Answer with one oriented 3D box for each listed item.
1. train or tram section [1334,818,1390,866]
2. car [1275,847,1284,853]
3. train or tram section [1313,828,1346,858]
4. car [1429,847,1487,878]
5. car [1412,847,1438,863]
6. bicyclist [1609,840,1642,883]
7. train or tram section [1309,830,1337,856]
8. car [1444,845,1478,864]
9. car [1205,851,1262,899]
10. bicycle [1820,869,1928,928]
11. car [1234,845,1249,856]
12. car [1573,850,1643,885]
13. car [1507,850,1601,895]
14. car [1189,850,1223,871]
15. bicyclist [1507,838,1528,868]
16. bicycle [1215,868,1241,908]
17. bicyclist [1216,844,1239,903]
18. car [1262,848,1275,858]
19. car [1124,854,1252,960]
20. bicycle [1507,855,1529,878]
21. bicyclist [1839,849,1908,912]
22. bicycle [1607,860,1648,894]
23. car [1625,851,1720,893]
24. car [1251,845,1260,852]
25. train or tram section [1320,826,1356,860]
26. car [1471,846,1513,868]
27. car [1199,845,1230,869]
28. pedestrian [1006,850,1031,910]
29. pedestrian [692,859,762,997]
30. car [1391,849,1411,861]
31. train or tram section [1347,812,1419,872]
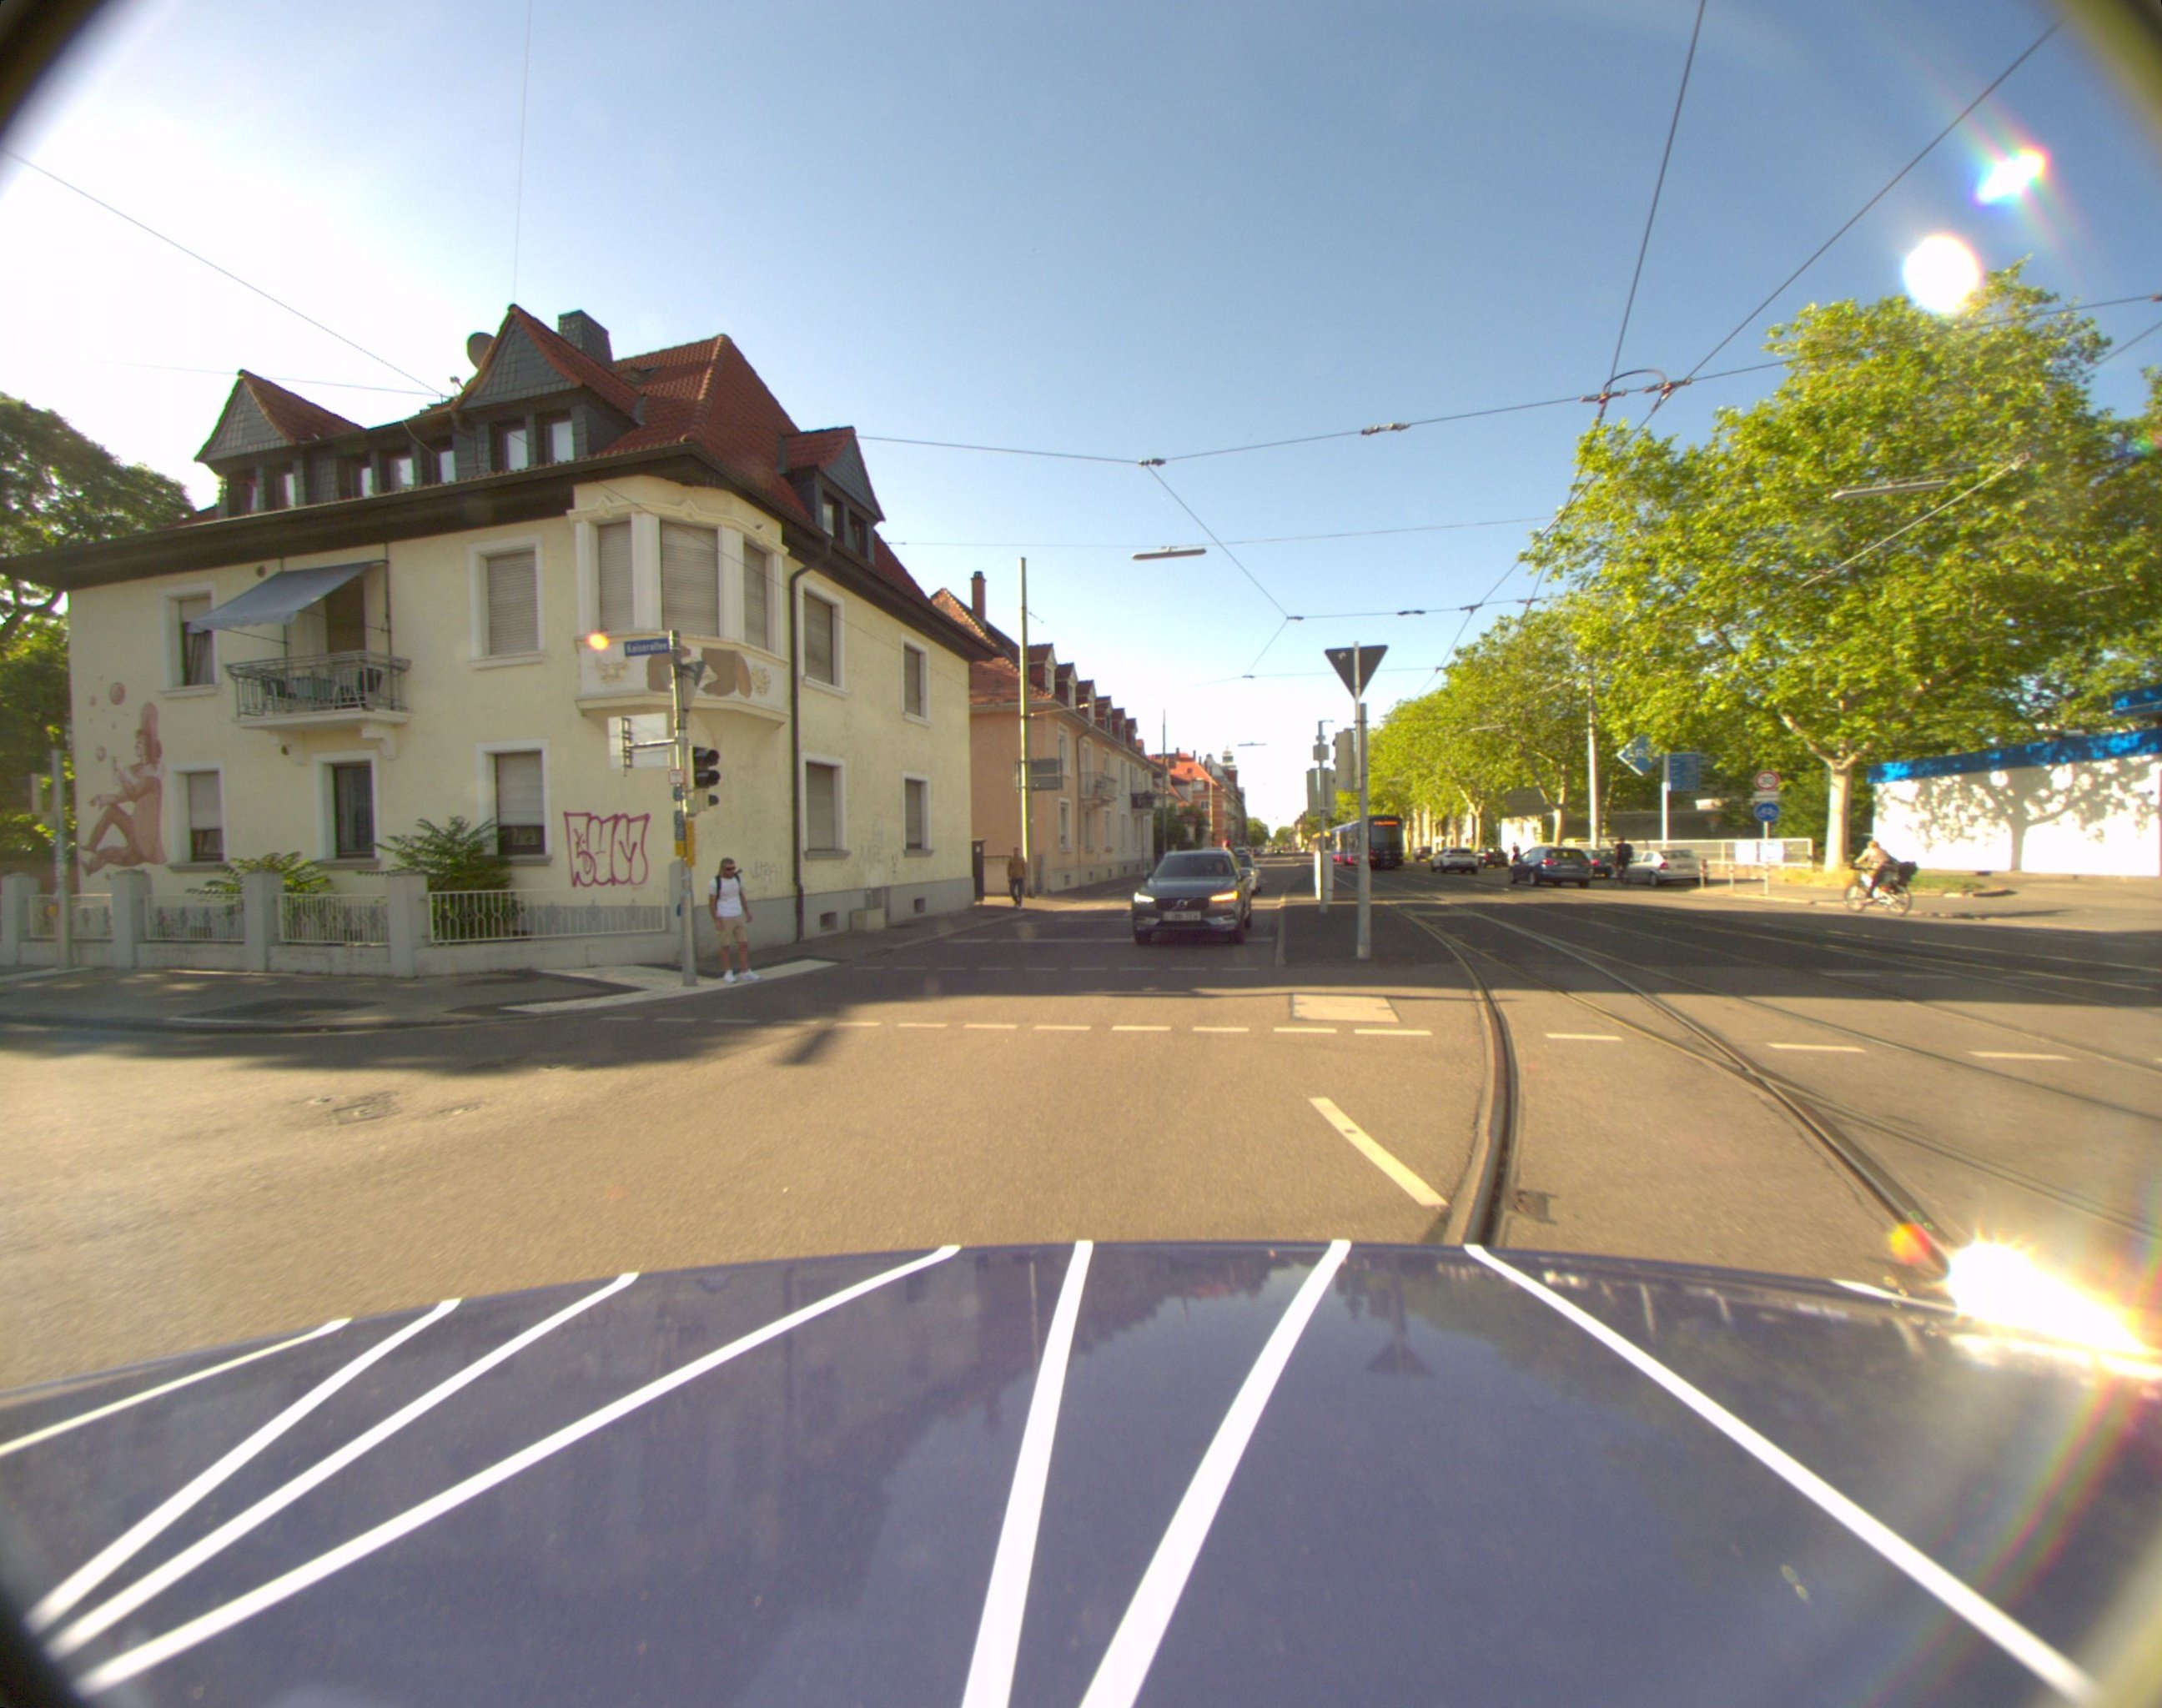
[{"bbox_3d":[23.335,-0.952,63.800,3.059,3.592,12.514,-1,1,14],"label":"train or tram section"},{"bbox_3d":[46.588,-1.001,178.531,1.880,1.477,4.004,-1,1,13],"label":"car"},{"bbox_3d":[32.345,-1.428,99.160,3.059,3.592,11.961,-1,1,13],"label":"train or tram section"},{"bbox_3d":[21.091,0.432,42.725,1.996,1.488,4.351,3,2,14],"label":"car"},{"bbox_3d":[35.873,0.053,79.300,1.880,1.567,4.004,-1,1,16],"label":"car"},{"bbox_3d":[20.116,0.272,28.079,0.697,1.563,0.892,-1,1,14],"label":"bicyclist"},{"bbox_3d":[35.287,-1.610,111.255,3.059,3.592,12.901,-1,1,14],"label":"train or tram section"},{"bbox_3d":[31.926,0.021,63.977,1.880,1.477,4.004,-1,1,16],"label":"car"},{"bbox_3d":[5.821,0.726,28.647,1.915,1.622,4.507,-1,1,14],"label":"car"},{"bbox_3d":[17.220,0.938,16.570,0.486,1.159,1.959,-1,1,6],"label":"bicycle"},{"bbox_3d":[21.740,-0.520,102.605,1.880,1.477,4.004,-1,1,13],"label":"car"},{"bbox_3d":[24.699,0.596,35.739,1.777,1.416,3.315,-4,0,19],"label":"car"},{"bbox_3d":[17.278,0.616,28.001,1.776,1.488,4.578,-1,1,16],"label":"car"},{"bbox_3d":[9.238,0.463,55.954,1.879,1.477,4.005,-1,1,18],"label":"car"},{"bbox_3d":[23.439,-0.049,40.823,0.715,1.551,0.987,-1,1,14],"label":"bicyclist"},{"bbox_3d":[4.276,0.969,22.065,0.599,1.050,1.992,-1,1,14],"label":"bicycle"},{"bbox_3d":[4.259,0.555,22.056,0.599,1.709,0.663,-1,1,14],"label":"bicyclist"},{"bbox_3d":[30.523,-0.167,123.825,1.880,1.477,4.004,-1,1,13],"label":"car"},{"bbox_3d":[2.211,0.859,14.513,1.915,1.622,4.507,-1,1,14],"label":"car"},{"bbox_3d":[23.398,0.672,40.728,0.486,1.159,2.058,-1,1,14],"label":"bicycle"},{"bbox_3d":[17.222,0.555,16.526,0.604,1.332,0.898,-1,1,6],"label":"bicyclist"},{"bbox_3d":[20.125,0.845,28.016,0.486,1.159,2.058,-1,1,14],"label":"bicycle"},{"bbox_3d":[22.874,0.672,29.544,1.777,1.416,3.542,-4,0,19],"label":"car"},{"bbox_3d":[37.399,-1.103,162.614,1.880,1.477,4.004,-1,1,13],"label":"car"},{"bbox_3d":[29.454,-1.264,87.503,3.059,3.592,12.126,-1,1,14],"label":"train or tram section"},{"bbox_3d":[29.641,0.181,54.907,1.880,1.477,4.004,-1,1,16],"label":"car"},{"bbox_3d":[10.811,0.221,61.426,1.930,1.834,5.319,-1,1,15],"label":"car"},{"bbox_3d":[-1.850,0.770,22.476,0.602,1.750,0.487,-1,1,8],"label":"pedestrian"},{"bbox_3d":[-4.740,0.954,10.160,0.675,1.731,0.687,0,3,-40],"label":"pedestrian"},{"bbox_3d":[40.460,0.104,96.145,1.880,1.542,4.004,-1,1,16],"label":"car"},{"bbox_3d":[20.311,-0.768,51.855,3.059,3.592,12.126,-1,1,14],"label":"train or tram section"}]
